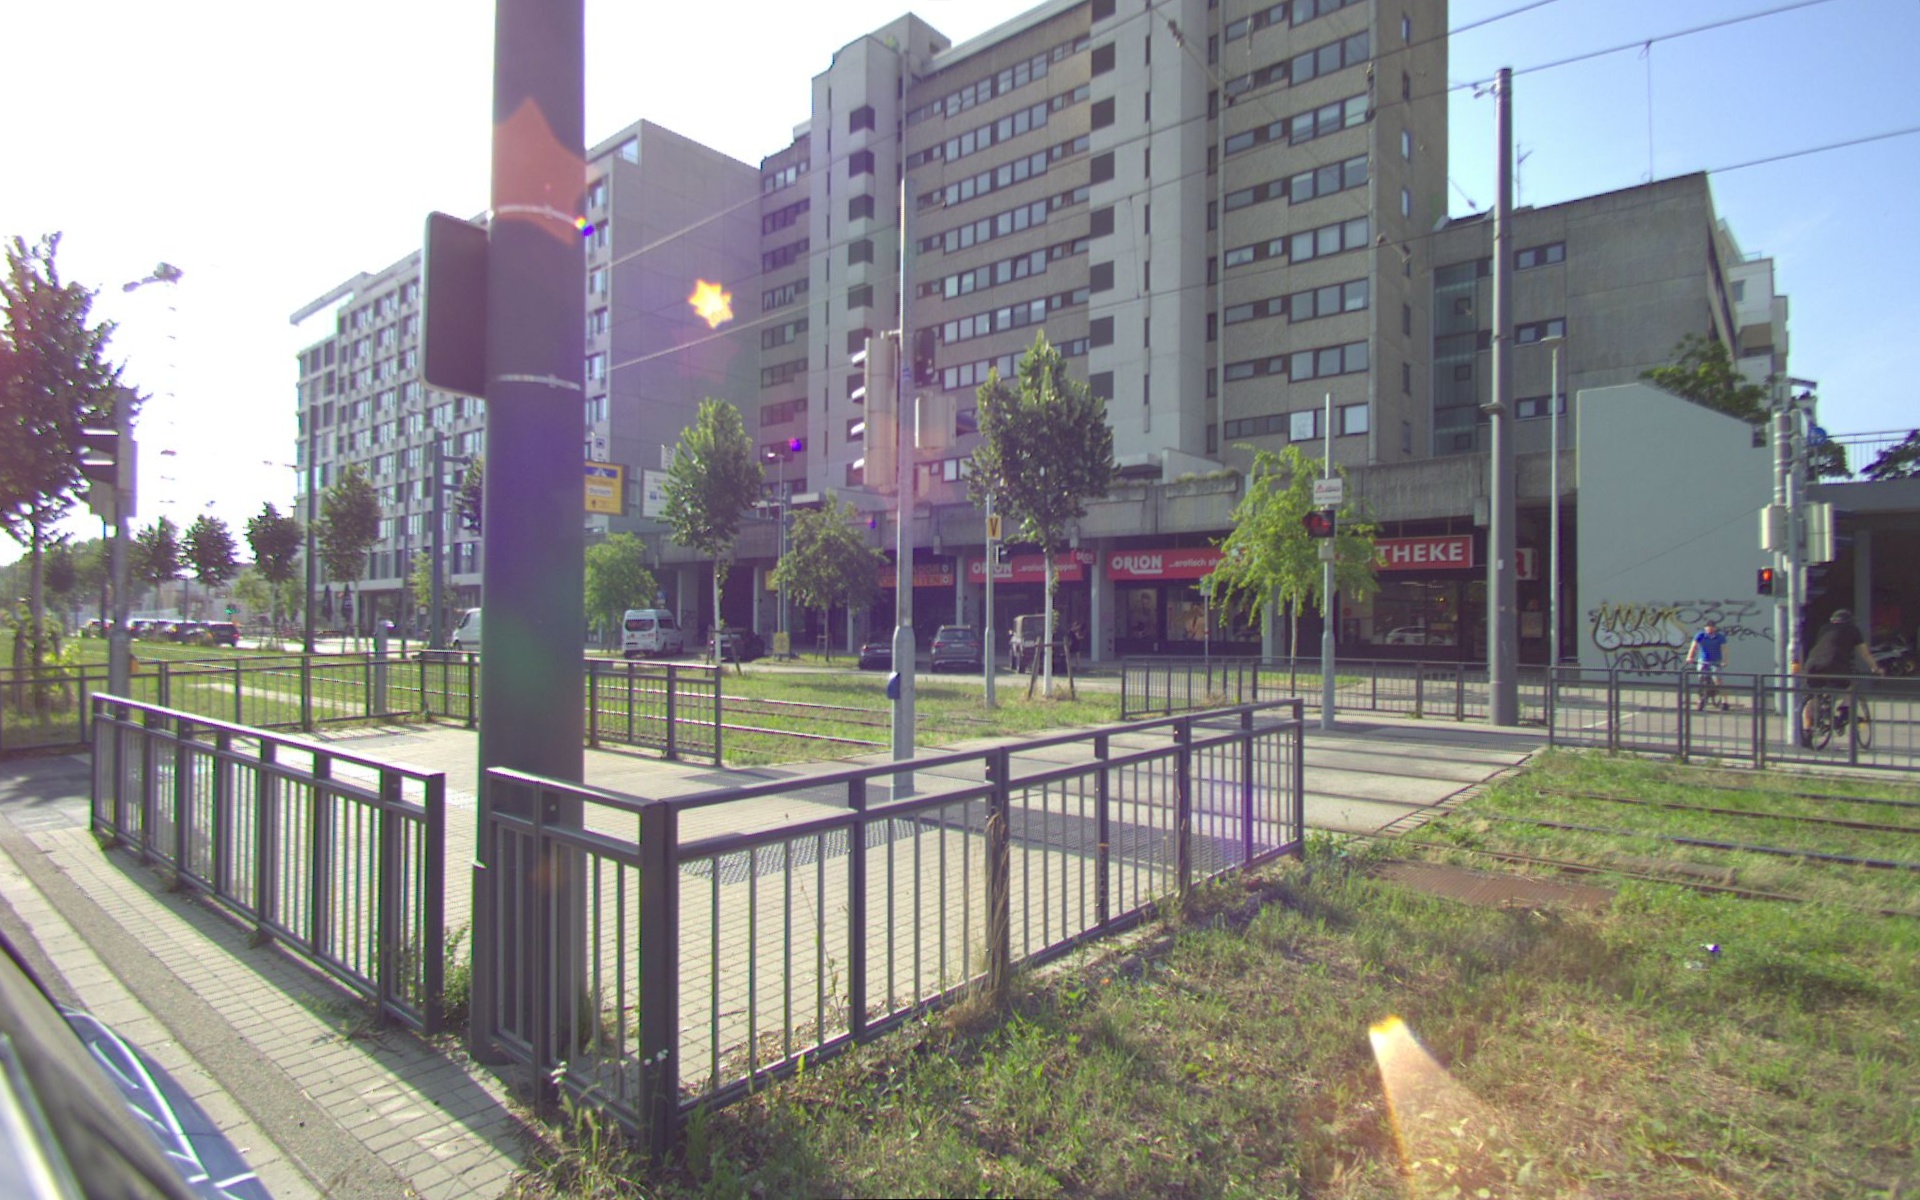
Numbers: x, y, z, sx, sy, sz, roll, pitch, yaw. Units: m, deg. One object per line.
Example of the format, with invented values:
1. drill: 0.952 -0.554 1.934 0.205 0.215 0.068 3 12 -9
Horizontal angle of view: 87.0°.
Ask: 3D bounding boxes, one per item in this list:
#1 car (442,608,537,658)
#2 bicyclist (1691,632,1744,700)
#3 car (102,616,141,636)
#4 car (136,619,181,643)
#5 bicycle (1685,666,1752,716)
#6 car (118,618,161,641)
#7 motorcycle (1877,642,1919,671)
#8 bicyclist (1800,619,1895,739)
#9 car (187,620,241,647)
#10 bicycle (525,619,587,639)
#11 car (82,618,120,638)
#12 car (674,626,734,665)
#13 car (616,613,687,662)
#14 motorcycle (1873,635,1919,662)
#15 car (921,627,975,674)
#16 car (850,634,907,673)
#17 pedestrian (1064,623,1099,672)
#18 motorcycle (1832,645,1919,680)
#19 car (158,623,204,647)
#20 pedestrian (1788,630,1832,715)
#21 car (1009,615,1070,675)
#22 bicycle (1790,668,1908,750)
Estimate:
1. car: -22.659 1.562 48.649 5.330 2.256 2.025 -1 -2 40
2. bicyclist: 16.583 1.426 22.159 1.008 1.451 0.687 1 -2 -39
3. car: -63.636 1.974 76.786 4.000 1.486 1.788 -1 -2 43
4. car: -54.093 2.054 68.315 4.000 1.586 1.788 -1 -2 43
5. bicycle: 16.597 1.977 22.136 1.640 0.998 0.687 1 -2 -36
6. car: -58.266 2.095 71.859 4.000 1.586 1.788 -1 -2 43
7. motorcycle: 34.071 2.025 36.132 1.945 1.025 0.488 -1 -2 41
8. bicyclist: 10.901 0.975 12.431 0.957 1.406 0.548 4 -5 -29
9. car: -43.528 1.932 59.032 4.000 1.492 1.788 -1 -2 43
10. bicycle: -28.980 2.085 72.619 3.937 1.377 1.128 2 -2 -41
11. car: -69.840 2.264 82.299 3.998 1.536 1.764 -1 -2 41
12. car: -11.511 2.007 45.739 2.070 1.594 4.006 -1 0 -6
13. car: -15.305 1.836 50.547 1.858 2.326 5.408 0 -1 0
14. motorcycle: 35.745 1.823 38.137 1.945 1.025 0.549 -1 -2 41
15. car: -0.399 1.830 37.407 1.853 1.618 4.110 0 -1 1
16. car: -3.131 2.064 39.713 1.853 1.253 4.110 -1 0 1
17. pedestrian: 4.256 1.662 35.460 1.102 1.709 0.743 0 -2 -2
18. motorcycle: 28.044 1.901 31.047 1.945 1.025 0.488 -1 -2 41
19. car: -49.316 2.192 64.077 3.641 1.498 1.722 -1 -2 43
20. pedestrian: 17.616 1.484 20.978 0.645 1.703 0.651 -1 -2 43
21. car: 2.743 1.554 35.787 1.853 1.983 4.110 0 -1 1
22. bicycle: 10.914 1.328 12.411 1.585 0.942 0.559 4 -5 -29
